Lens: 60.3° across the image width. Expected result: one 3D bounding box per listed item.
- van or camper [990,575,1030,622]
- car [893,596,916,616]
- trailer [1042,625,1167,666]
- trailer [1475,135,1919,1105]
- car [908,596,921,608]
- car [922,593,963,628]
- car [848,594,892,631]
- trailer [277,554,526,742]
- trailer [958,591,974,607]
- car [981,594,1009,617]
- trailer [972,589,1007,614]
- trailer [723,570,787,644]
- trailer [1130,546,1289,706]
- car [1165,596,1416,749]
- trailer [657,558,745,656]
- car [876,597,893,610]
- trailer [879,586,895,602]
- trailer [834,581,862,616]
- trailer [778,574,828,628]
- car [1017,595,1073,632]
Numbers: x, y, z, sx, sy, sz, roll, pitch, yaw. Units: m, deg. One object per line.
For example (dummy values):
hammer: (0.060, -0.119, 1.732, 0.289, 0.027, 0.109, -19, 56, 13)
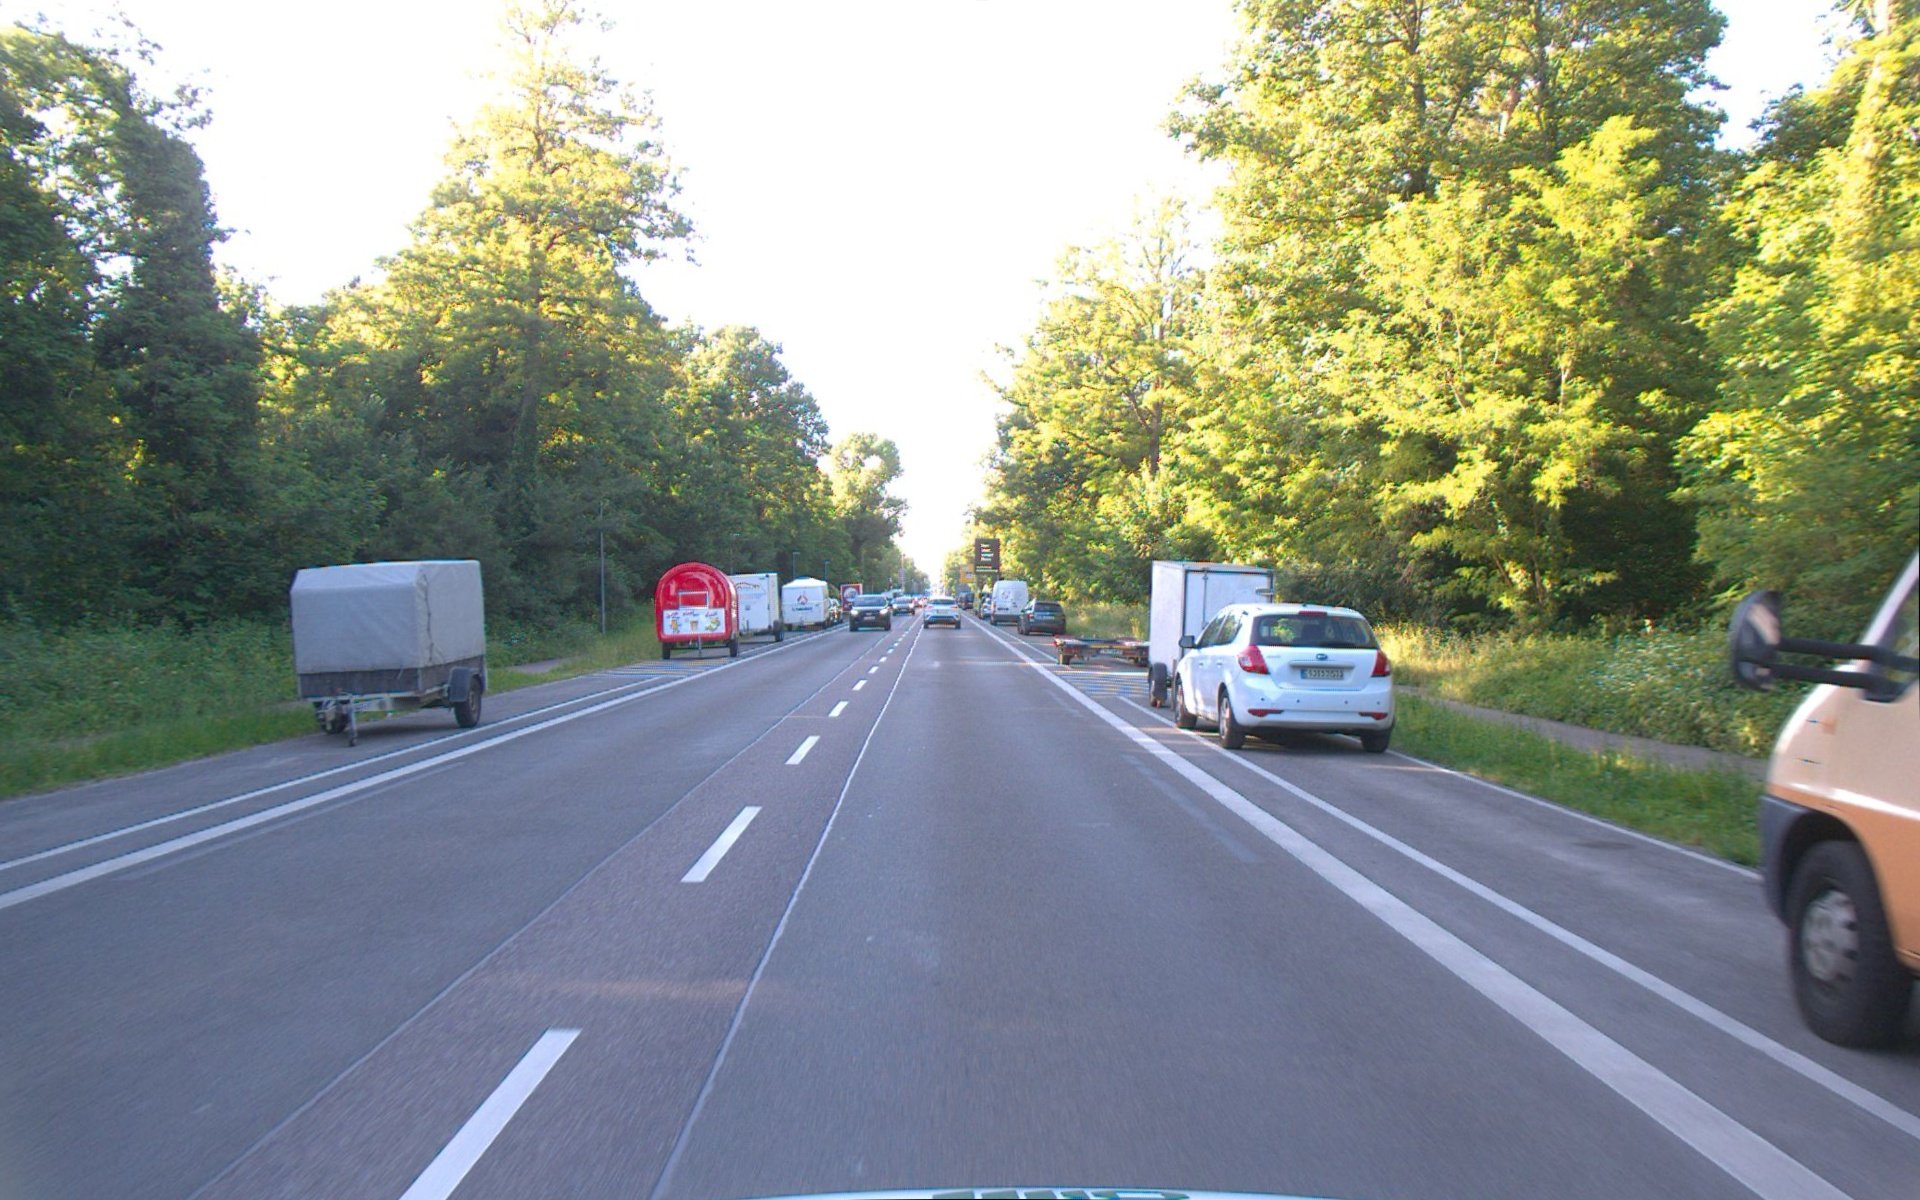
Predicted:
van or camper: (2.775, -0.089, 93.404, 2.082, 2.526, 6.304, 0, 0, 0)
car: (-4.579, 0.502, 136.882, 1.782, 1.559, 4.529, -1, 0, -1)
trailer: (3.301, 1.041, 39.014, 2.383, 0.812, 5.658, 1, 0, -1)
trailer: (4.323, 0.090, 3.776, 2.862, 2.891, 9.879, 2, 0, -2)
car: (-6.059, 0.237, 219.344, 1.571, 1.445, 3.518, -2, 0, -1)
car: (-0.860, 0.491, 80.480, 1.953, 1.668, 3.999, -1, 0, -1)
car: (-4.106, 0.560, 76.106, 1.781, 1.614, 4.458, -1, 0, -1)
trailer: (-6.847, 0.542, 20.688, 1.815, 2.048, 3.561, -3, 0, 0)
trailer: (0.911, -0.133, 235.302, 1.580, 2.149, 2.397, 0, 0, 20)
car: (2.390, 0.380, 114.102, 1.700, 1.514, 4.399, 2, 0, -2)
trailer: (2.562, 0.111, 141.869, 1.921, 2.058, 3.845, 0, 0, 19)
trailer: (-7.297, 0.246, 59.187, 2.025, 2.524, 3.558, -1, 0, -4)
trailer: (3.615, 0.349, 24.516, 1.719, 2.199, 3.538, 0, 0, -2)
car: (3.552, 0.714, 18.640, 1.849, 1.493, 4.568, 0, 0, -1)
trailer: (-6.987, 0.184, 44.974, 2.025, 2.524, 3.558, -1, 0, -4)
car: (-8.984, 0.400, 196.519, 1.829, 1.476, 4.070, -3, 0, -1)
trailer: (-10.383, -0.843, 236.106, 2.032, 2.333, 3.487, -1, 0, 1)
trailer: (-8.819, -0.119, 130.484, 1.953, 2.667, 4.085, 0, 0, -1)
trailer: (-7.734, 0.058, 81.966, 2.300, 2.573, 4.341, -1, 0, -4)
car: (3.544, 0.543, 69.679, 1.798, 1.445, 4.594, 3, 0, -4)
